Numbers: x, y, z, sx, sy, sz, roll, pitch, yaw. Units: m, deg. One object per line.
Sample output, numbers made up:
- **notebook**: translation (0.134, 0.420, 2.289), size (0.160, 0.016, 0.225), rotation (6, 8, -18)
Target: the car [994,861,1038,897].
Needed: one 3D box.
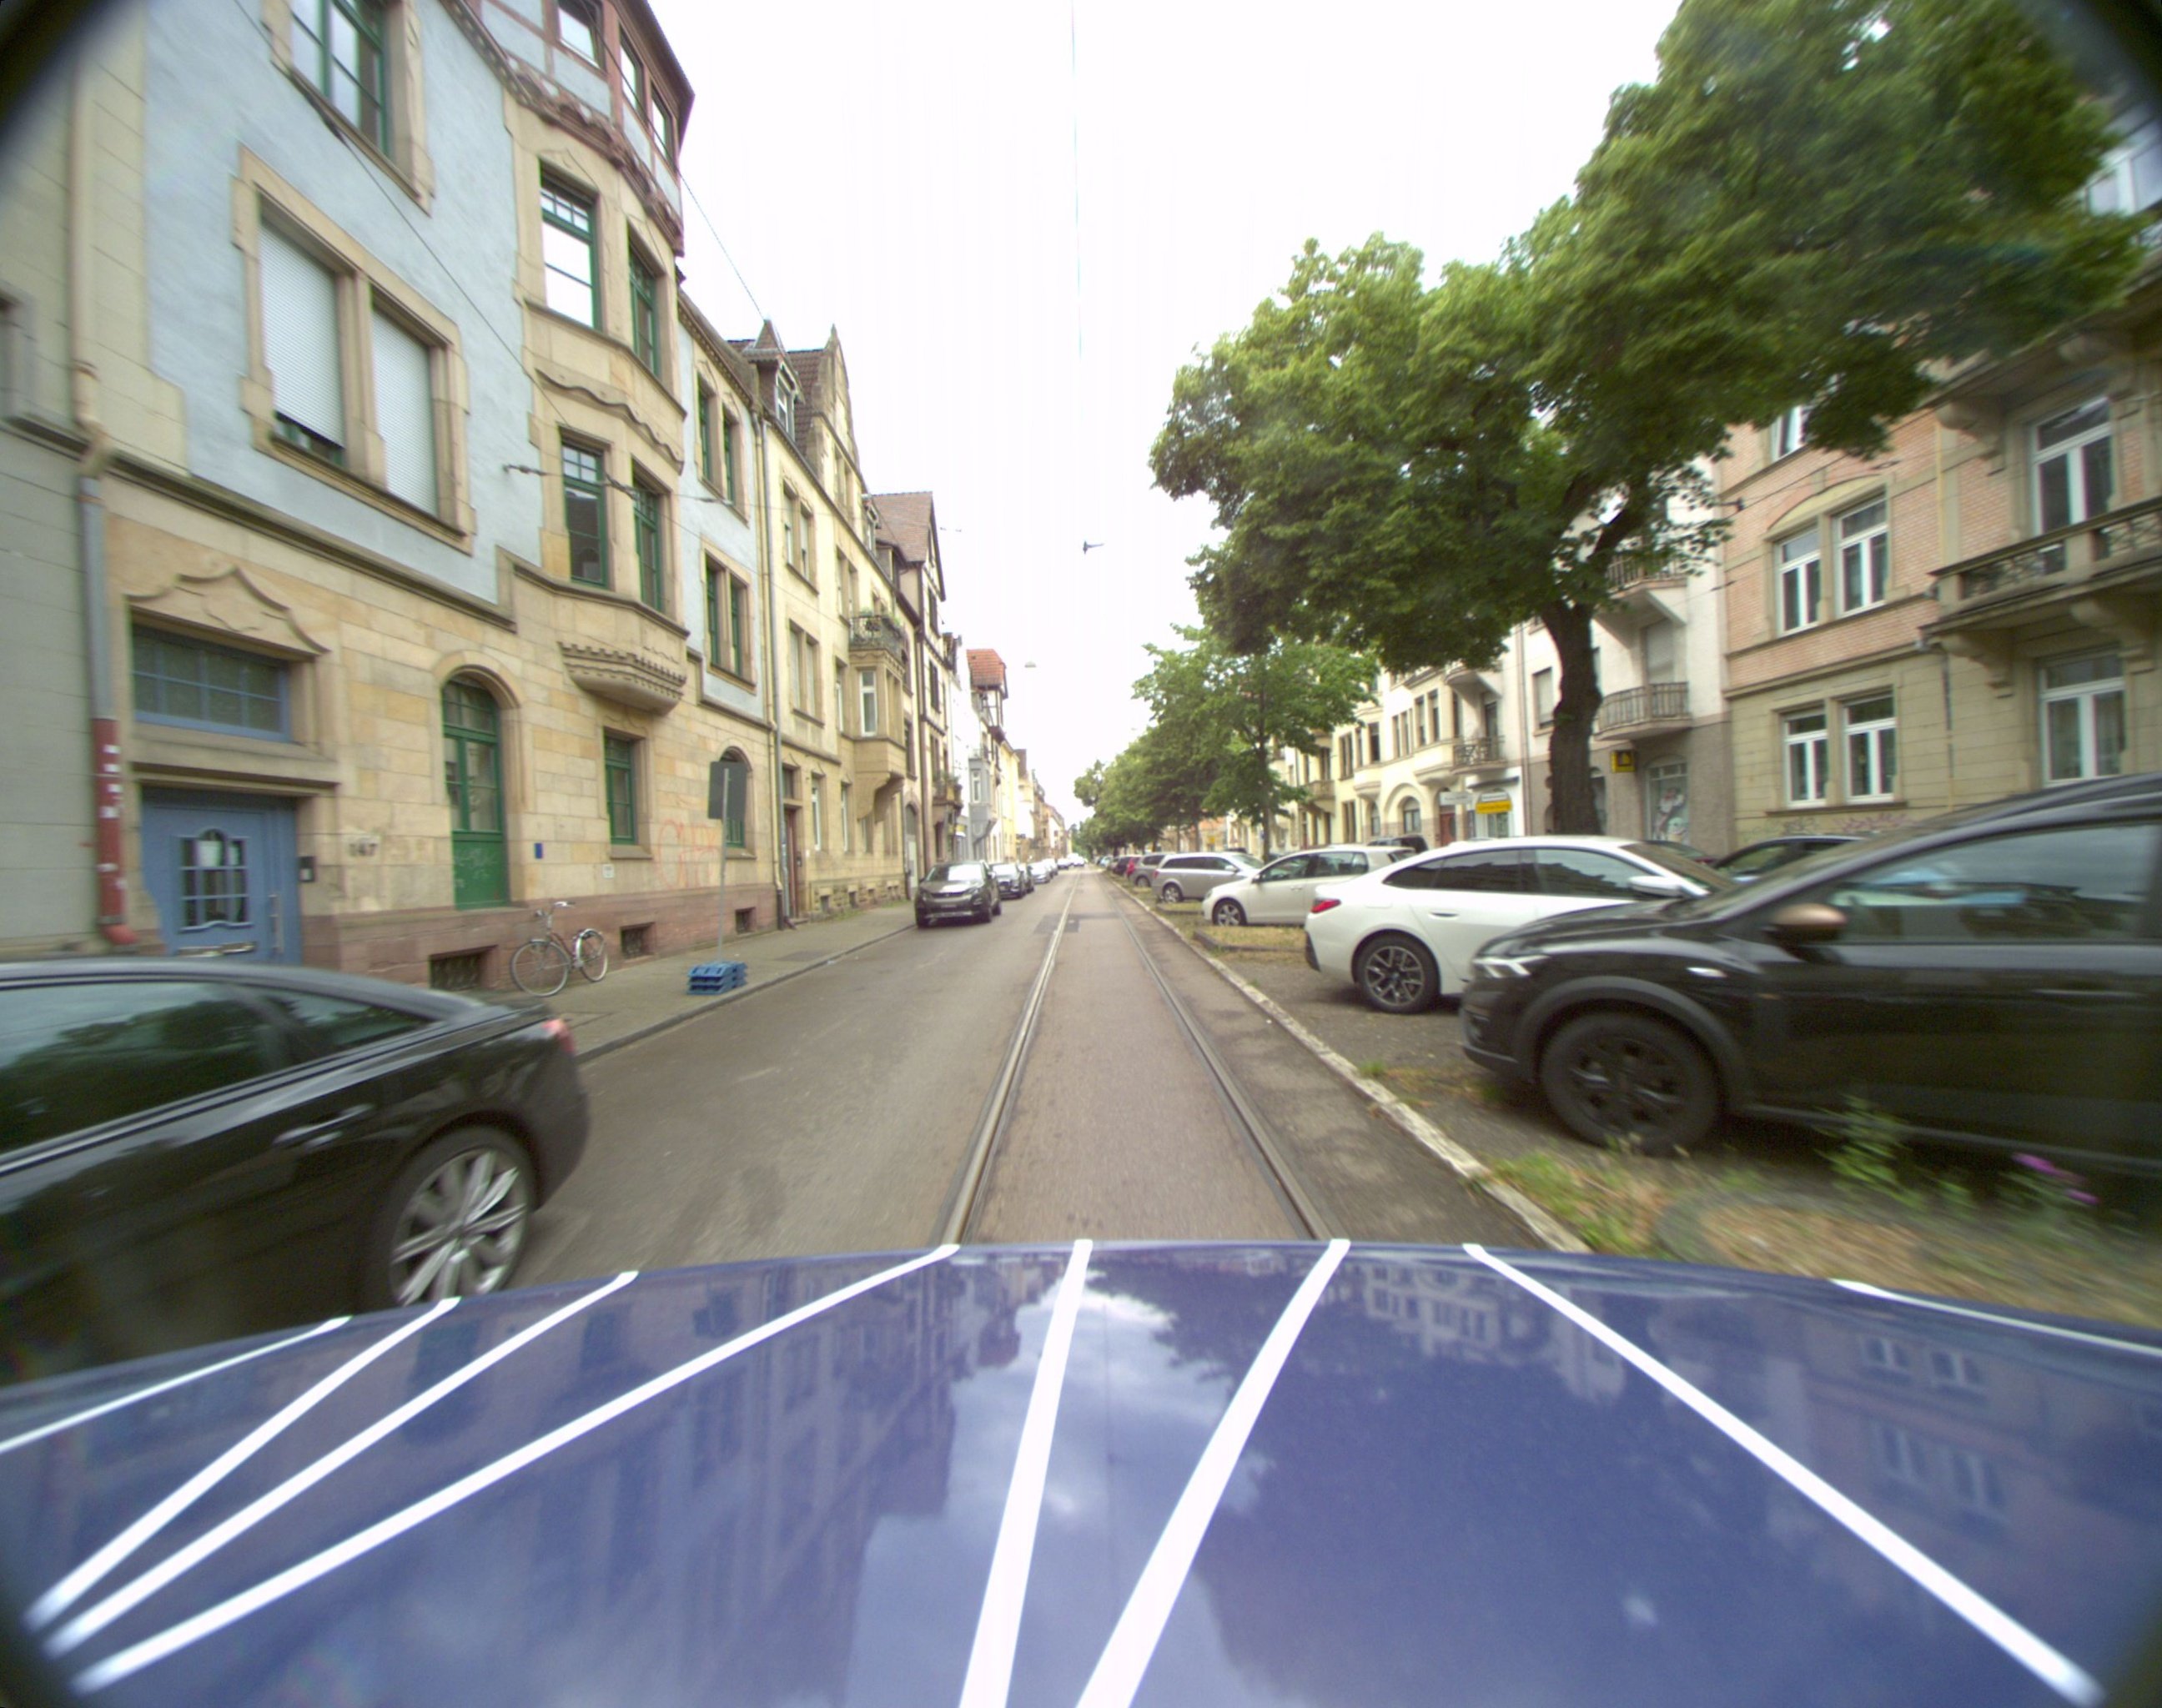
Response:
- **car**: translation (-3.113, 1.162, 37.087), size (1.702, 1.504, 4.391), rotation (-6, 0, -1)

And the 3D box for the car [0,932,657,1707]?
- **car**: translation (-3.018, 1.135, 1.108), size (1.805, 1.429, 5.195), rotation (-3, 0, 0)

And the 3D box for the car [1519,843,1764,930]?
- **car**: translation (11.306, 0.567, 15.805), size (1.809, 1.481, 4.387), rotation (-3, 0, 0)

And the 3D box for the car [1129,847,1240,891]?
- **car**: translation (4.168, 0.624, 31.047), size (4.195, 1.600, 1.728), rotation (-2, 2, 42)

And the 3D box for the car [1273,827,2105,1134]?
- **car**: translation (4.104, 0.667, 6.044), size (4.529, 1.482, 2.040), rotation (-2, 1, 44)

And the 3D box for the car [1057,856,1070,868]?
- **car**: translation (-2.508, 1.185, 110.030), size (1.676, 1.519, 4.212), rotation (-4, 1, 0)

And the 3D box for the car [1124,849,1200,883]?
- **car**: translation (4.341, 0.658, 41.184), size (1.678, 1.518, 3.803), rotation (-4, 0, -45)

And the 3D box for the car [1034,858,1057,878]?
- **car**: translation (-2.951, 1.198, 64.503), size (1.635, 1.478, 4.213), rotation (-6, 0, 0)

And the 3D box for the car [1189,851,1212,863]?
- **car**: translation (12.197, 0.301, 77.531), size (1.639, 1.169, 3.380), rotation (-3, 0, -2)

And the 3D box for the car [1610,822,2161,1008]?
- **car**: translation (8.499, 0.476, 8.551), size (1.809, 1.444, 4.652), rotation (-3, 0, 0)

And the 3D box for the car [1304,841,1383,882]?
- **car**: translation (11.796, 0.321, 34.452), size (1.856, 1.650, 4.493), rotation (-3, 0, -2)

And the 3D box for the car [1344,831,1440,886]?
- **car**: translation (11.743, 0.158, 29.036), size (1.855, 1.859, 4.431), rotation (-3, 0, 1)

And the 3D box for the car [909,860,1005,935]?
- **car**: translation (-3.102, 1.024, 19.930), size (1.764, 1.612, 4.694), rotation (-3, 0, -1)

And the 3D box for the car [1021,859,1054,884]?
- **car**: translation (-2.991, 1.210, 53.081), size (1.793, 1.504, 4.214), rotation (-6, 0, 1)

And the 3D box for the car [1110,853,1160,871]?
- **car**: translation (4.727, 0.735, 66.454), size (3.989, 1.407, 1.902), rotation (-3, -1, 39)

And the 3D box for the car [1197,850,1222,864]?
- **car**: translation (12.148, 0.289, 71.921), size (1.639, 1.169, 3.380), rotation (-3, 0, -2)

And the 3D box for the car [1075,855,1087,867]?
- **car**: translation (0.038, 1.158, 133.938), size (1.998, 2.002, 3.999), rotation (-3, 1, 0)

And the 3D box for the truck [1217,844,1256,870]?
- **truck**: translation (12.028, 0.208, 59.038), size (2.150, 1.845, 6.065), rotation (-3, 0, 4)

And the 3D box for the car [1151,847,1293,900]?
- **car**: translation (4.300, 0.626, 23.590), size (1.779, 1.476, 3.989), rotation (-3, 0, -44)

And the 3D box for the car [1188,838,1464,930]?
- **car**: translation (4.147, 0.522, 13.276), size (4.119, 1.304, 1.867), rotation (-4, 0, 44)

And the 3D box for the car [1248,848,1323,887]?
- **car**: translation (8.348, 0.501, 31.469), size (1.809, 1.444, 4.652), rotation (-3, 0, 0)

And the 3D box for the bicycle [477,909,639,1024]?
- **bicycle**: translation (-6.491, 1.342, 9.585), size (0.612, 1.120, 1.916), rotation (-6, 0, 0)

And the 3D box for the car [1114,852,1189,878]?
- **car**: translation (4.485, 0.729, 48.787), size (1.889, 1.458, 4.596), rotation (-3, 0, -44)

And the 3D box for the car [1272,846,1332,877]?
- **car**: translation (11.885, 0.412, 41.129), size (1.856, 1.513, 4.194), rotation (-3, 0, -2)

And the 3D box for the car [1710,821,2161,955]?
- **car**: translation (11.513, 0.365, 10.677), size (1.809, 1.430, 4.229), rotation (-3, 0, 0)

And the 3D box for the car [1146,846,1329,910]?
- **car**: translation (4.133, 0.654, 20.645), size (1.867, 1.484, 4.553), rotation (-4, 1, -44)

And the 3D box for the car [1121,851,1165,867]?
- **car**: translation (6.368, 0.520, 77.980), size (3.991, 1.407, 1.901), rotation (-2, -1, 21)

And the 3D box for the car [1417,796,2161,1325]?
- **car**: translation (3.967, 0.602, 2.894), size (4.520, 1.624, 1.768), rotation (-2, 1, 44)

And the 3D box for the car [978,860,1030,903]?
- **car**: translation (-3.173, 1.112, 32.059), size (1.702, 1.504, 4.419), rotation (-6, 0, -1)

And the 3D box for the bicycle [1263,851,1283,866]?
- **bicycle**: translation (15.077, 0.372, 59.708), size (0.613, 1.120, 1.914), rotation (-6, 0, -11)

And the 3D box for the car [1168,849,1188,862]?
- **car**: translation (12.172, 0.187, 95.882), size (1.796, 1.596, 4.512), rotation (-3, 0, -2)

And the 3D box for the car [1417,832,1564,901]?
- **car**: translation (11.436, 0.299, 21.595), size (1.809, 1.670, 4.272), rotation (-3, 0, 0)

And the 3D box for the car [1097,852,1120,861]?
- **car**: translation (5.425, 0.573, 150.100), size (3.991, 1.602, 1.901), rotation (-2, -1, 21)

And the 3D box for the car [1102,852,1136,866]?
- **car**: translation (4.890, 0.645, 98.041), size (3.990, 1.602, 1.902), rotation (-3, -1, 31)

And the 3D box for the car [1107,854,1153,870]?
- **car**: translation (4.712, 0.783, 73.255), size (3.989, 1.407, 1.902), rotation (-3, -1, 39)

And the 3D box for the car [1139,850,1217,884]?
- **car**: translation (4.815, 0.644, 37.796), size (3.418, 1.518, 1.693), rotation (-2, 2, 43)

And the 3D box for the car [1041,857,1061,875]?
- **car**: translation (-2.917, 1.118, 74.567), size (1.635, 1.519, 4.212), rotation (-4, 1, 0)
